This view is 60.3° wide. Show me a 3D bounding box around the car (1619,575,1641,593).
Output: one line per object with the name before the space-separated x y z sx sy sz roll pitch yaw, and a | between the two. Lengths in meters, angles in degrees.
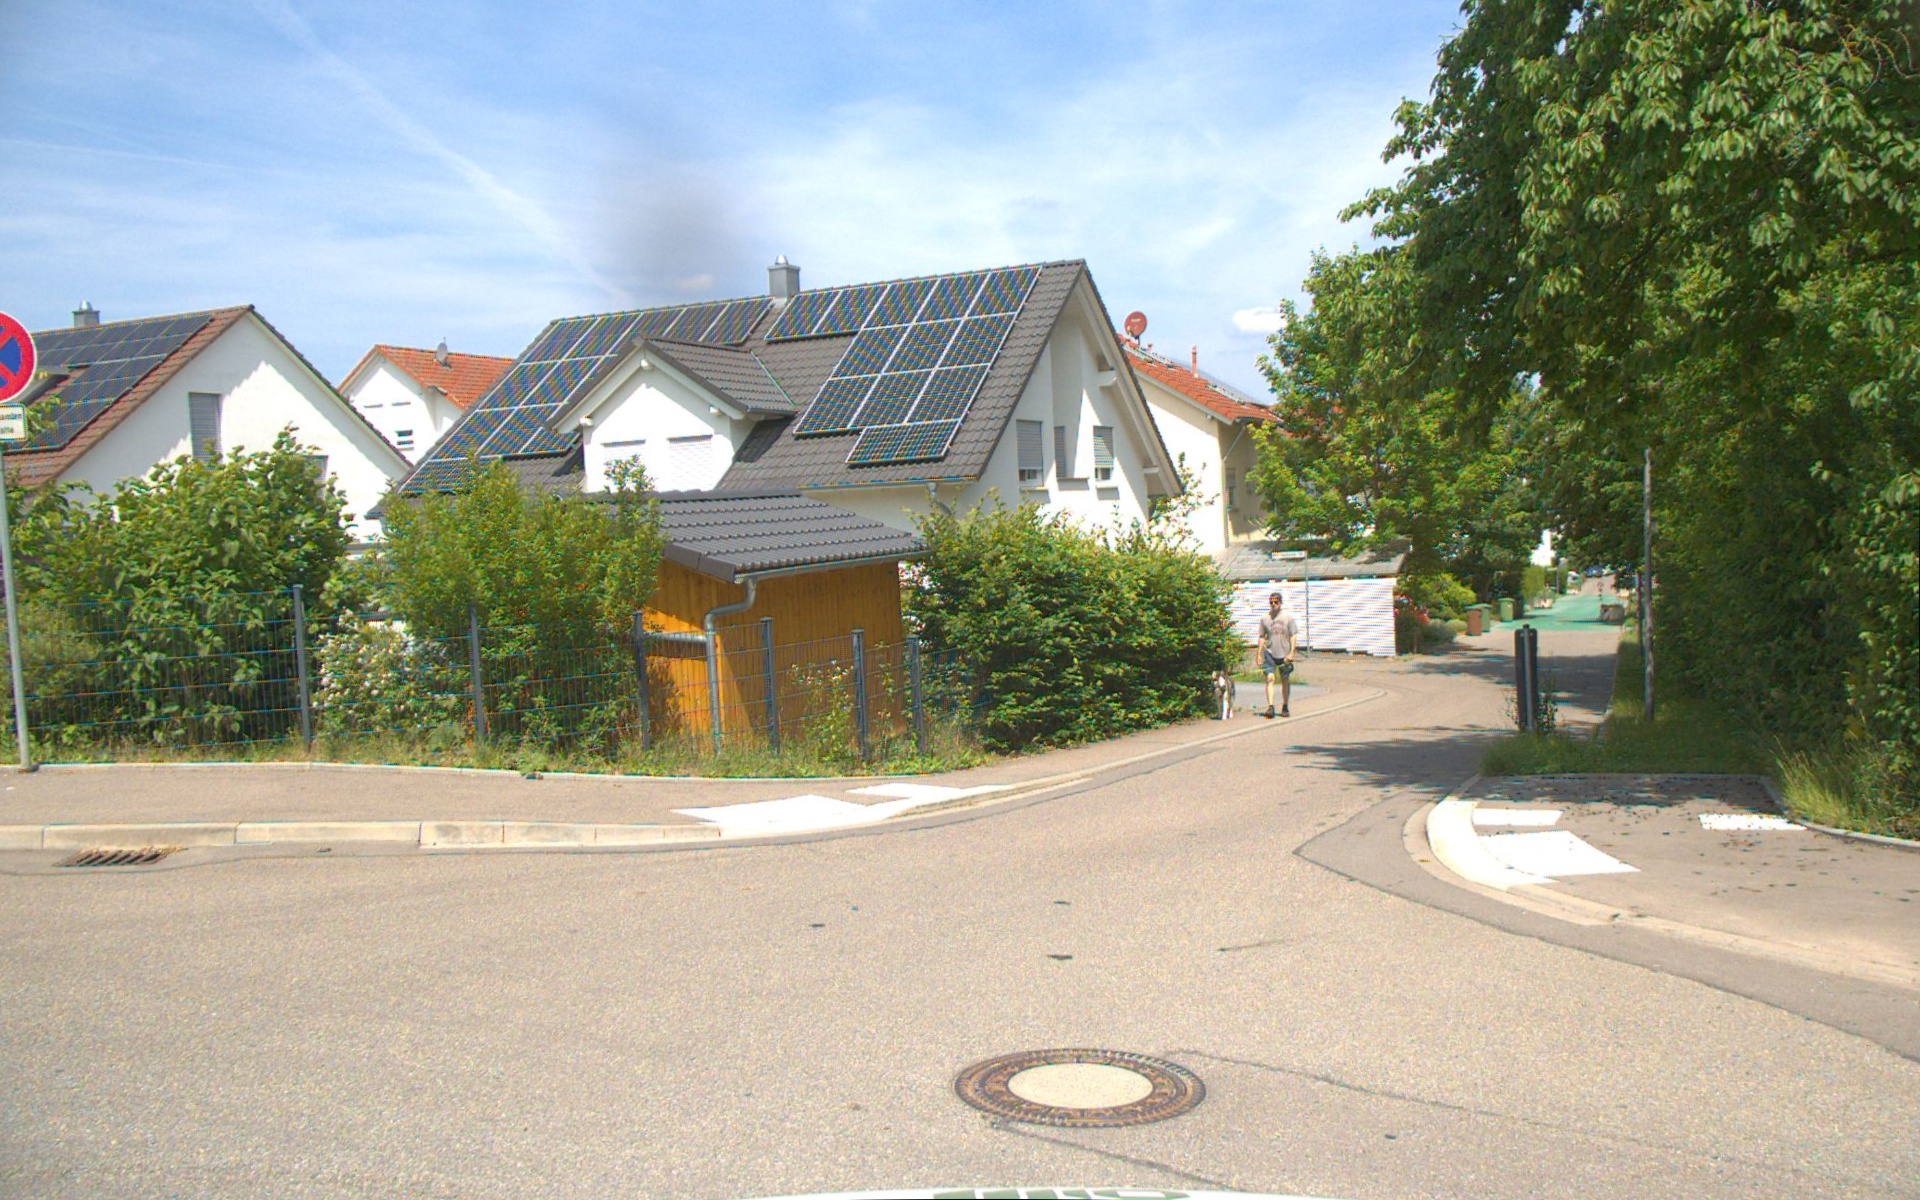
car | 58.947 -1.411 145.578 1.545 1.444 3.233 -1 3 19

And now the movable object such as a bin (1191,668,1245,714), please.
movable object such as a bin | 3.751 1.316 24.049 0.537 0.640 1.020 -1 -2 23

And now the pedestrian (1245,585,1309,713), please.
pedestrian | 4.716 0.733 24.600 0.828 1.852 0.835 -1 -3 17
